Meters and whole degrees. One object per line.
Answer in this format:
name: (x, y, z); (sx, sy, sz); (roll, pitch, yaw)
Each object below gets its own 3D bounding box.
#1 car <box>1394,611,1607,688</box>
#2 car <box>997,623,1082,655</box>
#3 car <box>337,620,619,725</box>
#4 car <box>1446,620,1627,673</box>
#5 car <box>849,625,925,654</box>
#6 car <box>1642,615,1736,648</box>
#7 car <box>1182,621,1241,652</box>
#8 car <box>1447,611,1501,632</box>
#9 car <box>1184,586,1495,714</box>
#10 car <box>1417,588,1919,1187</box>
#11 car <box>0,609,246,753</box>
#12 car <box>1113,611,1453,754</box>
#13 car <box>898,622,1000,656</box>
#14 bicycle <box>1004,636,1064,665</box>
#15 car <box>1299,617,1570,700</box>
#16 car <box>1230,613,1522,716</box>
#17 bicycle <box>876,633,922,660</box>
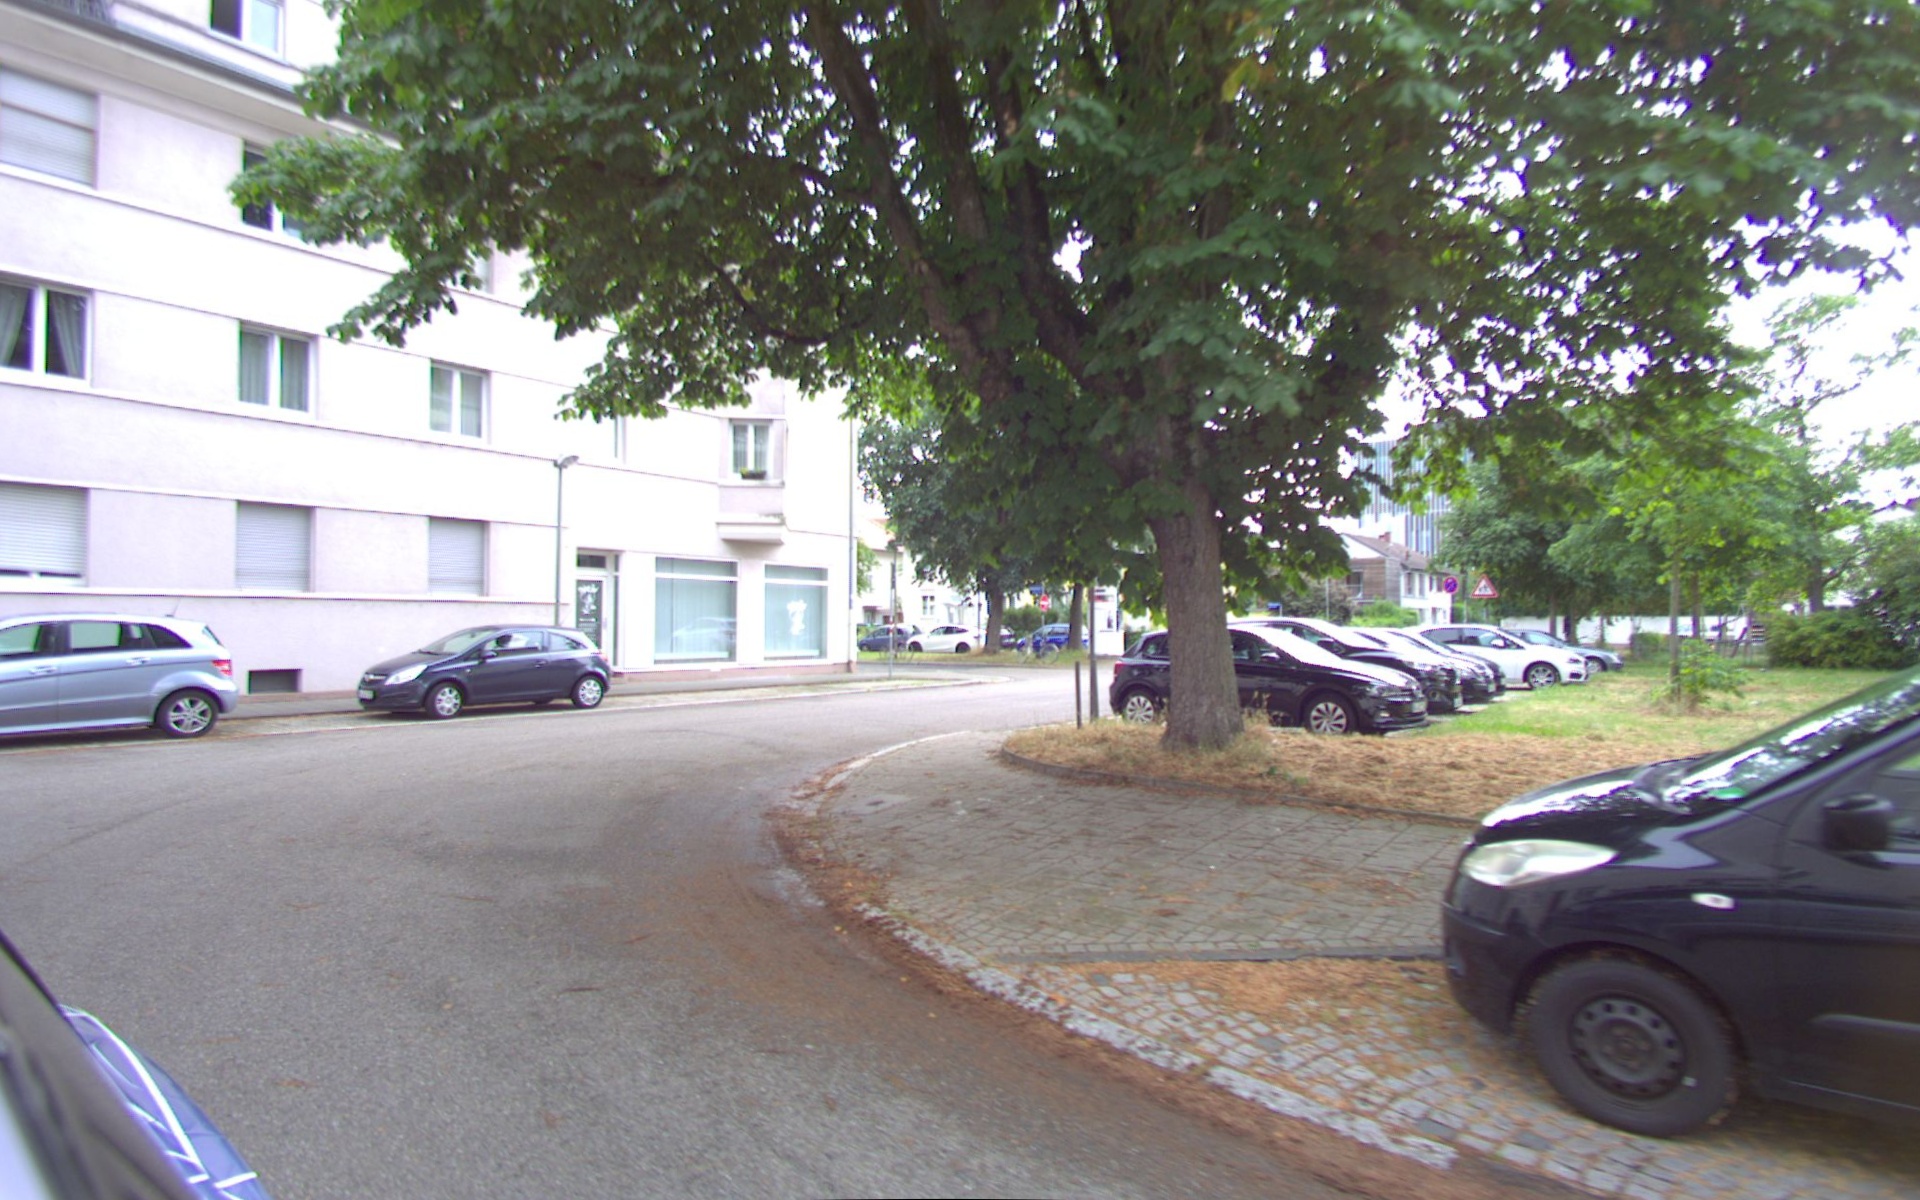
car: (12.871, 1.205, 24.214); (4.143, 1.572, 1.860); (-6, -3, 38)
car: (4.160, 2.043, 53.152); (4.203, 1.578, 1.684); (-1, -1, 37)
car: (-7.909, 1.113, 16.877); (1.760, 1.501, 3.886); (-2, -2, 38)
car: (17.202, 1.397, 30.296); (4.548, 1.465, 1.661); (-3, -2, 34)
car: (-4.268, 2.299, 58.903); (4.197, 1.578, 1.686); (-1, -1, 32)
car: (43.786, 1.912, 60.936); (4.483, 1.873, 1.977); (-2, 0, 35)
car: (13.465, 1.918, 53.994); (1.838, 1.623, 3.954); (-1, -2, 34)
car: (46.477, 1.957, 91.483); (3.996, 1.851, 1.974); (-2, 0, 40)
car: (5.779, 0.760, 15.689); (4.067, 1.710, 1.890); (-3, -3, 42)
car: (3.381, 0.717, 2.760); (3.590, 1.505, 1.509); (-2, 0, 41)
car: (-11.398, 0.942, 12.320); (1.762, 1.640, 4.143); (-2, -2, 41)
car: (4.118, 0.979, 13.212); (3.840, 1.589, 1.806); (-2, -2, 41)
car: (-0.576, 1.916, 50.031); (4.870, 1.578, 1.881); (-1, -2, 33)
bicycle: (2.675, 1.839, 36.860); (2.174, 0.993, 0.507); (-2, 0, 31)
car: (9.402, 1.150, 20.301); (4.559, 1.475, 1.815); (-3, -3, 42)
car: (7.187, 1.086, 17.758); (4.356, 1.578, 1.815); (-3, -3, 42)
bicycle: (-2.494, 1.895, 41.149); (1.881, 1.075, 0.660); (-1, -2, 36)
